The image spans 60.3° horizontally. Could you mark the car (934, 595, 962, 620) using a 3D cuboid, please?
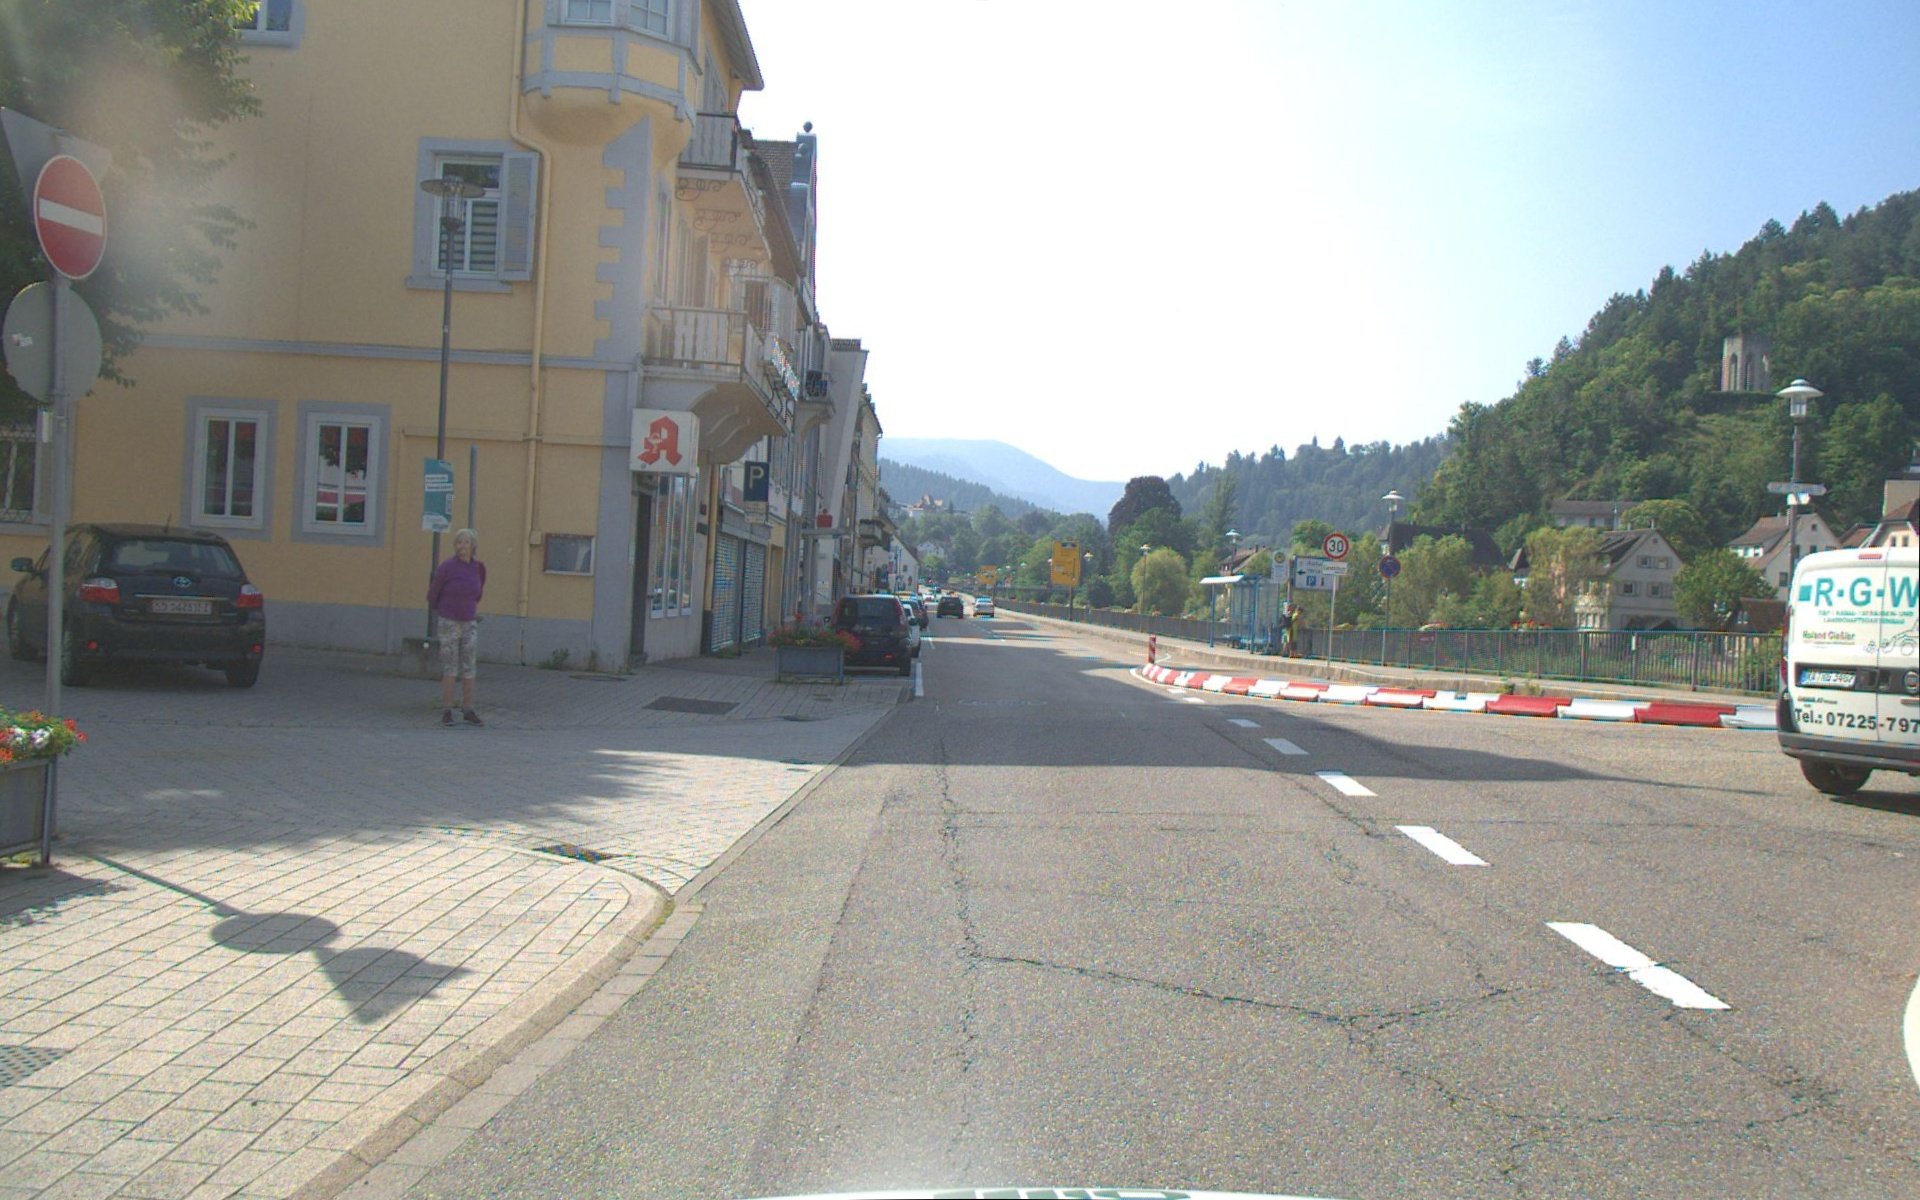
[{"bbox_3d":[-0.927,0.515,122.769,1.953,1.691,3.999,3,0,-1],"label":"car"}]

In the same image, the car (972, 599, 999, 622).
[{"bbox_3d":[1.979,0.798,131.590,1.953,1.691,3.999,3,0,-1],"label":"car"}]

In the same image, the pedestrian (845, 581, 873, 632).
[{"bbox_3d":[-3.465,0.229,56.816,0.675,1.726,0.659,2,0,26],"label":"pedestrian"}]

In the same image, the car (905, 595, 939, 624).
[{"bbox_3d":[-2.031,0.485,88.161,1.712,1.473,3.275,2,0,-2],"label":"car"}]

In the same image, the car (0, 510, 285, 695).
[{"bbox_3d":[-8.482,-0.028,16.946,1.903,1.569,3.908,3,2,-37],"label":"car"}]

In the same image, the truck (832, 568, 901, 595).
[{"bbox_3d":[-12.887,-2.568,228.656,9.041,3.321,3.062,2,0,-21],"label":"truck"}]

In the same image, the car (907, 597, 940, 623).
[{"bbox_3d":[-1.821,0.480,82.228,1.532,1.241,3.275,2,0,-2],"label":"car"}]

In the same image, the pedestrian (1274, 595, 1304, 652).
[{"bbox_3d":[10.252,0.717,51.583,0.773,1.735,0.492,3,0,1],"label":"pedestrian"}]

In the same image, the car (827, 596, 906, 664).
[{"bbox_3d":[-2.144,0.662,38.559,1.712,1.473,3.275,2,0,-2],"label":"car"}]

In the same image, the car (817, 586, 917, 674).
[{"bbox_3d":[-1.794,0.554,32.524,1.809,1.596,3.566,2,0,-2],"label":"car"}]

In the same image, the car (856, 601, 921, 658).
[{"bbox_3d":[-1.995,0.791,46.342,1.712,1.473,3.793,2,0,-2],"label":"car"}]

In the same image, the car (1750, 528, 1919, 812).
[{"bbox_3d":[8.342,0.437,12.555,4.240,1.939,1.839,-1,2,-22],"label":"car"}]

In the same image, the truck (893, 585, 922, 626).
[{"bbox_3d":[-3.337,0.346,104.811,1.712,2.511,4.659,2,0,-2],"label":"truck"}]

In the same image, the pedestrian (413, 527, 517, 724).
[{"bbox_3d":[-4.532,0.230,15.131,0.673,1.744,0.609,2,1,-38],"label":"pedestrian"}]

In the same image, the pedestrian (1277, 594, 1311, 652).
[{"bbox_3d":[10.279,0.704,50.937,0.849,1.735,0.777,3,0,1],"label":"pedestrian"}]
